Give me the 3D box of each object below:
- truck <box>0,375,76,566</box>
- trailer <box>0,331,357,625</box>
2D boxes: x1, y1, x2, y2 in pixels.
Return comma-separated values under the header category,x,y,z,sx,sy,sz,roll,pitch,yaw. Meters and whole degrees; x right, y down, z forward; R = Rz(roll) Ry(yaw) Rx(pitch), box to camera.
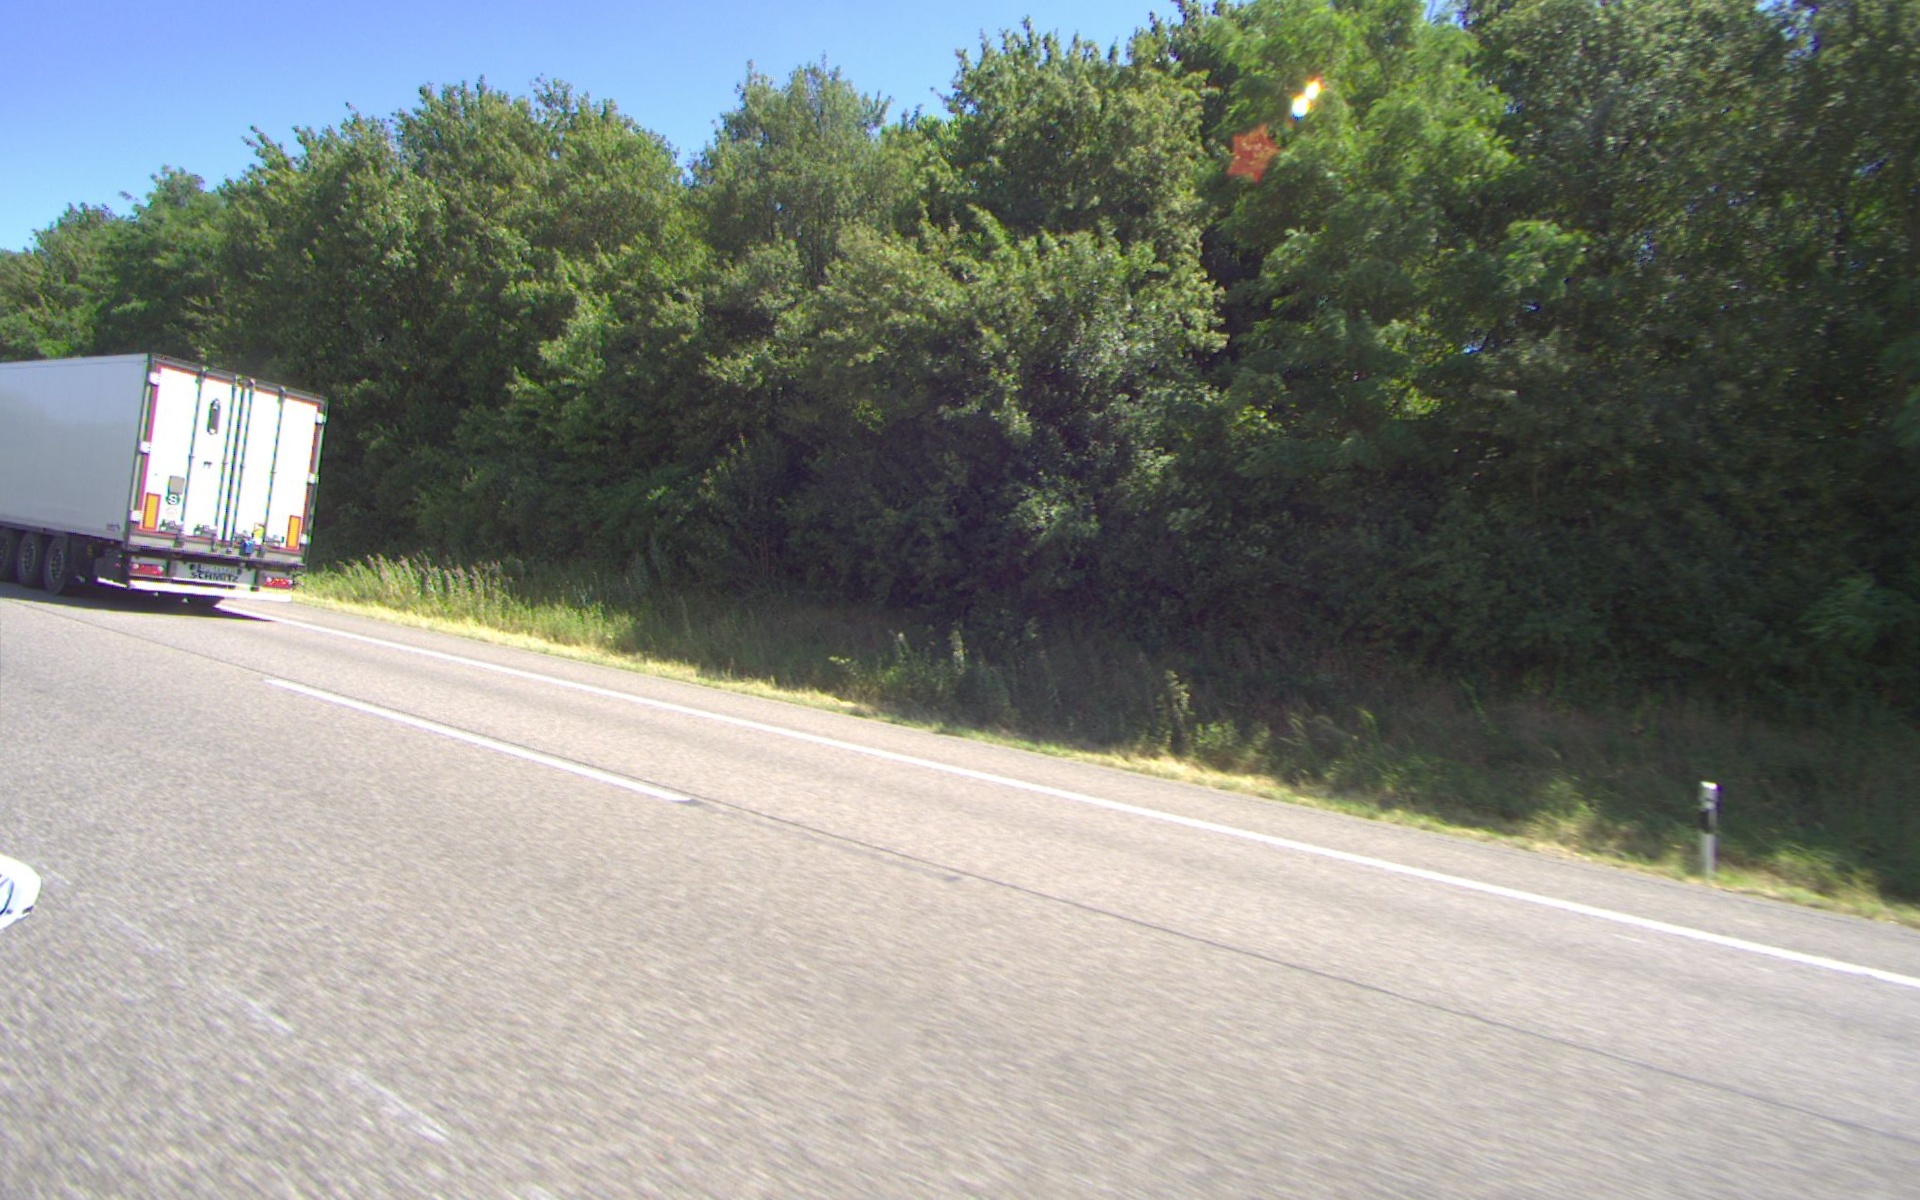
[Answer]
category,x,y,z,sx,sy,sz,roll,pitch,yaw
truck,-24.923,-3.373,24.530,5.947,4.265,3.053,7,-1,31
trailer,-17.558,-2.492,20.084,13.603,4.274,3.045,7,-1,31
